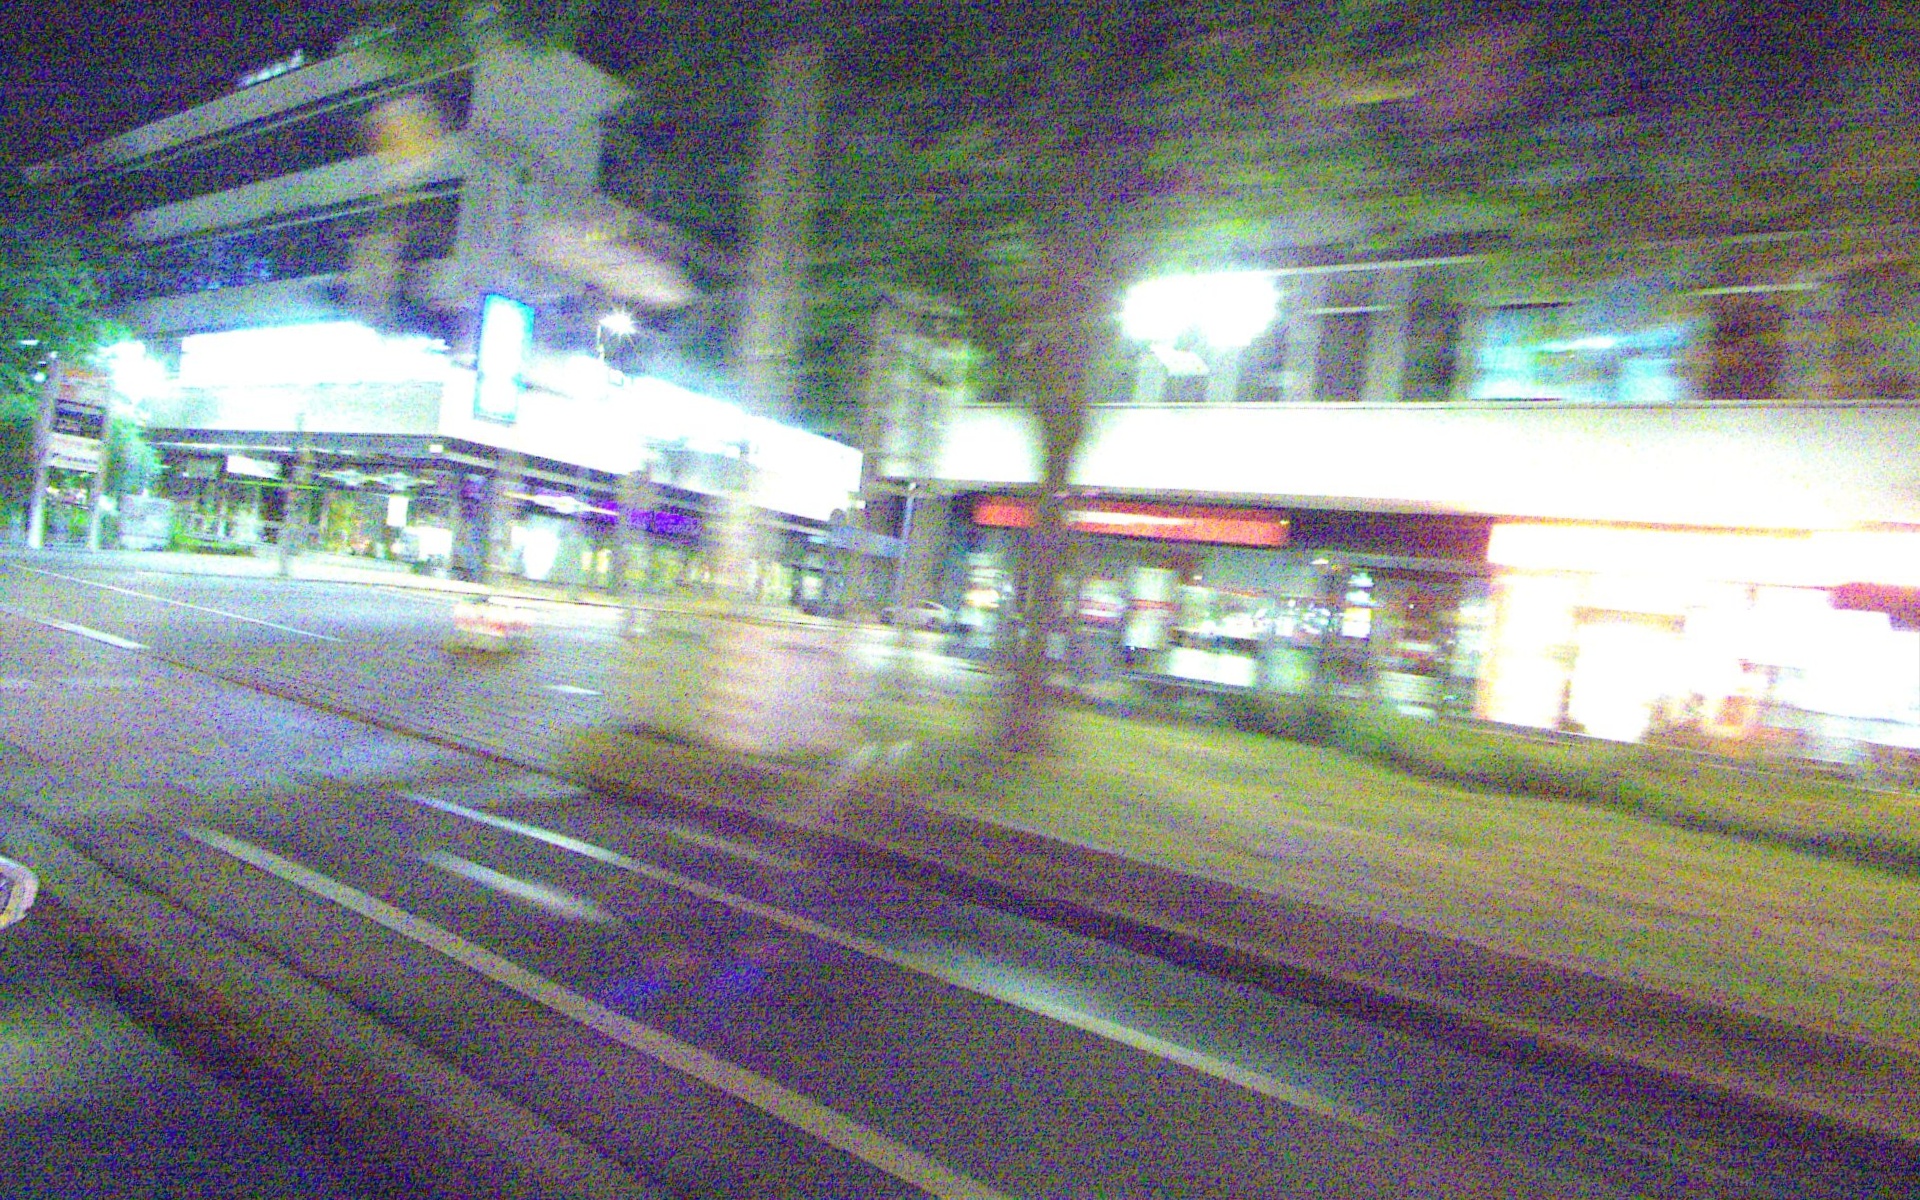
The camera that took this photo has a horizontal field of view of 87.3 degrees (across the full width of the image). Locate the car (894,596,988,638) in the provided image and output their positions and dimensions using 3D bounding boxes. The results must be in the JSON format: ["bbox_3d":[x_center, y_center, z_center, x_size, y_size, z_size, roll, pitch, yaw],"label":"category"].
[{"bbox_3d":[-0.987,0.863,51.605,4.311,1.585,1.972,6,0,29],"label":"car"}]

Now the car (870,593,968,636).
[{"bbox_3d":[-2.039,0.716,49.454,4.311,1.585,1.972,6,0,29],"label":"car"}]
